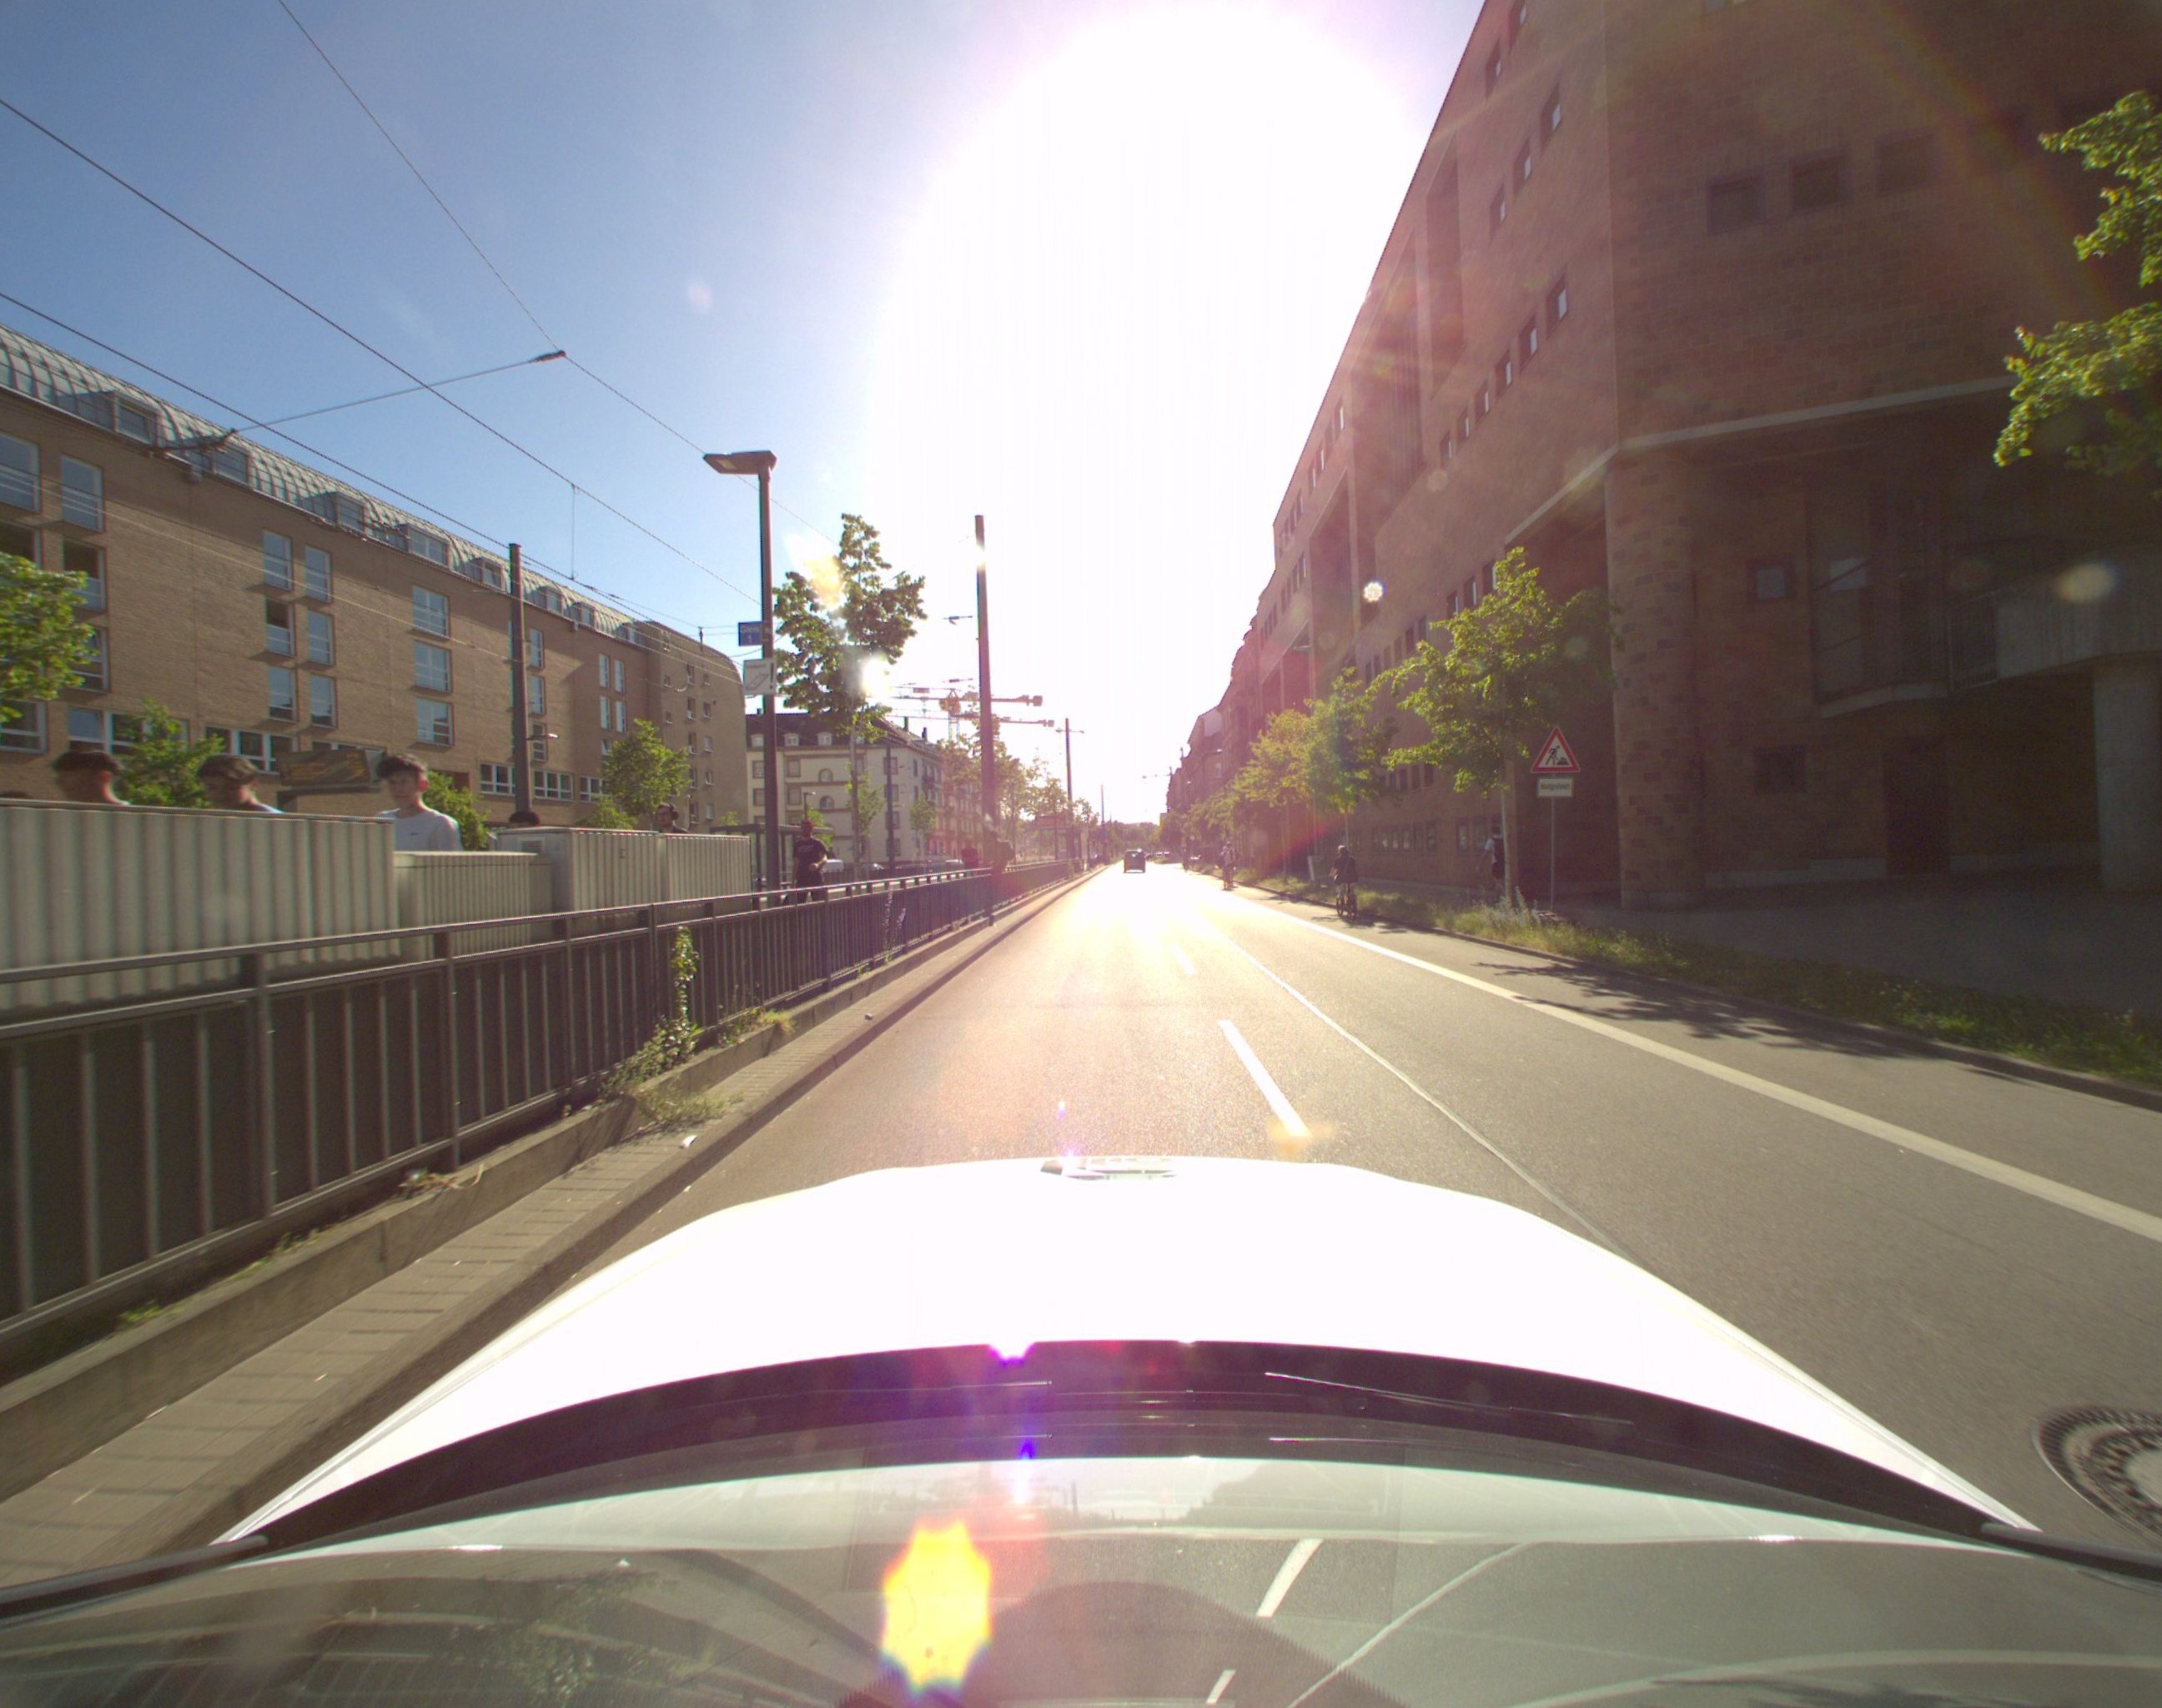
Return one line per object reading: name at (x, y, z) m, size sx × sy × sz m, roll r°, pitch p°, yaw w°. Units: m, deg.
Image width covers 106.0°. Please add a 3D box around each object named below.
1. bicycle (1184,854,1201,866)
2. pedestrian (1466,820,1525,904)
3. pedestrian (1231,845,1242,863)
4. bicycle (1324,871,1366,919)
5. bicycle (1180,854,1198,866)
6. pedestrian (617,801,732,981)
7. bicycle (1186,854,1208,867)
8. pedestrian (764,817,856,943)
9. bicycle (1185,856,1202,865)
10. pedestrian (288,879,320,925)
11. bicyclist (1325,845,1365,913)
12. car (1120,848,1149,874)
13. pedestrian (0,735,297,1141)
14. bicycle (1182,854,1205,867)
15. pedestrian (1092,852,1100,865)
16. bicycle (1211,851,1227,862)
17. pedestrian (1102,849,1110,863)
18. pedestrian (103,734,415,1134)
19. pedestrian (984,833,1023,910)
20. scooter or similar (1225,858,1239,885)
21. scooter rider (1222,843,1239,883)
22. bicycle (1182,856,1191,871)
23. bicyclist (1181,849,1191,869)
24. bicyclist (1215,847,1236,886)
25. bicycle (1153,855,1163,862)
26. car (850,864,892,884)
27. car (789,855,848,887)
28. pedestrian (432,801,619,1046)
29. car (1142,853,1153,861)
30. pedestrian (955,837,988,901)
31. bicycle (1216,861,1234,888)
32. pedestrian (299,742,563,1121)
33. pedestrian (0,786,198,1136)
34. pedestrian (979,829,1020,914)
bicycle at (10.894, 0.579, 79.795) m, size 1.591 × 1.045 × 0.608 m, roll -5°, pitch 0°, yaw 6°
pedestrian at (9.640, 0.178, 18.971) m, size 0.784 × 1.883 × 1.107 m, roll -2°, pitch 0°, yaw 3°
pedestrian at (13.472, 0.010, 70.503) m, size 0.706 × 1.542 × 0.928 m, roll -2°, pitch 0°, yaw 3°
bicycle at (6.124, 0.929, 18.921) m, size 0.555 × 1.027 × 1.508 m, roll 0°, pitch 0°, yaw 3°
bicycle at (10.771, 0.599, 81.360) m, size 1.714 × 1.100 × 0.608 m, roll -5°, pitch 0°, yaw 6°
pedestrian at (-4.343, 0.382, 8.757) m, size 0.751 × 1.811 × 0.840 m, roll -2°, pitch -1°, yaw -1°
bicycle at (11.151, 0.599, 78.468) m, size 1.986 × 1.128 × 0.710 m, roll -5°, pitch 0°, yaw 4°
pedestrian at (-4.111, 0.386, 12.449) m, size 0.988 × 1.811 × 1.022 m, roll -2°, pitch 0°, yaw -1°
bicycle at (11.438, 0.619, 82.808) m, size 1.660 × 0.821 × 0.608 m, roll -3°, pitch 0°, yaw 10°
pedestrian at (-32.574, 1.997, 34.152) m, size 0.618 × 1.840 × 0.645 m, roll -3°, pitch 0°, yaw 2°
bicyclist at (6.109, 0.571, 18.884) m, size 0.655 × 1.537 × 0.910 m, roll 0°, pitch 0°, yaw 3°
car at (4.360, 0.551, 66.567) m, size 2.191 × 1.926 × 4.658 m, roll -2°, pitch 0°, yaw 3°
pedestrian at (-4.614, 0.371, 4.013) m, size 0.645 × 1.774 × 0.820 m, roll -2°, pitch -1°, yaw 0°
bicycle at (10.668, 0.596, 77.117) m, size 1.993 × 1.092 × 0.845 m, roll -5°, pitch 0°, yaw -7°
pedestrian at (1.761, 0.563, 96.621) m, size 0.809 × 1.536 × 0.799 m, roll -1°, pitch 0°, yaw 5°
bicycle at (16.163, 0.278, 95.479) m, size 1.808 × 1.171 × 0.655 m, roll -2°, pitch 3°, yaw 7°
pedestrian at (3.162, 0.276, 102.717) m, size 0.863 × 1.788 × 0.970 m, roll -1°, pitch 0°, yaw -3°
pedestrian at (-3.979, 0.352, 4.020) m, size 0.645 × 1.743 × 0.820 m, roll -2°, pitch 0°, yaw 0°
pedestrian at (-1.816, 0.401, 19.239) m, size 0.743 × 1.748 × 0.716 m, roll -2°, pitch -1°, yaw 2°
scooter or similar at (7.114, 0.814, 38.332) m, size 0.488 × 1.226 × 1.171 m, roll 0°, pitch 0°, yaw 3°
scooter rider at (7.072, 0.400, 38.446) m, size 0.663 × 1.860 × 0.901 m, roll 0°, pitch 0°, yaw 3°
bicycle at (8.653, 0.795, 66.947) m, size 0.599 × 1.181 × 1.871 m, roll 0°, pitch 0°, yaw 3°
bicyclist at (8.658, 0.399, 67.224) m, size 0.681 × 1.673 × 0.923 m, roll 0°, pitch 0°, yaw 3°
bicyclist at (6.285, 0.535, 35.519) m, size 0.776 × 1.711 × 0.869 m, roll 0°, pitch 0°, yaw 3°
bicycle at (13.396, 0.774, 141.867) m, size 1.785 × 1.030 × 0.528 m, roll -2°, pitch 0°, yaw 3°
car at (-15.570, 1.462, 60.581) m, size 1.871 × 1.464 × 4.002 m, roll -1°, pitch -1°, yaw 2°
car at (-21.101, 1.352, 65.711) m, size 1.981 × 2.369 × 5.663 m, roll -2°, pitch 0°, yaw 11°
pedestrian at (-3.968, 0.467, 5.884) m, size 0.751 × 1.618 × 0.775 m, roll -2°, pitch 0°, yaw -1°
car at (13.423, 0.569, 165.474) m, size 2.019 × 1.499 × 4.658 m, roll -2°, pitch 0°, yaw 3°
pedestrian at (-3.040, 0.400, 22.628) m, size 0.706 × 1.723 × 0.752 m, roll -2°, pitch -1°, yaw 2°
bicycle at (6.267, 0.878, 35.453) m, size 0.555 × 1.092 × 1.793 m, roll 0°, pitch 0°, yaw 3°
pedestrian at (-3.300, 0.361, 4.217) m, size 0.645 × 1.743 × 0.820 m, roll -2°, pitch 0°, yaw 0°
pedestrian at (-5.165, 0.489, 4.001) m, size 0.606 × 1.569 × 0.908 m, roll -2°, pitch 0°, yaw 0°
pedestrian at (-1.854, 0.393, 18.534) m, size 0.743 × 1.884 × 0.716 m, roll -2°, pitch -1°, yaw 2°
